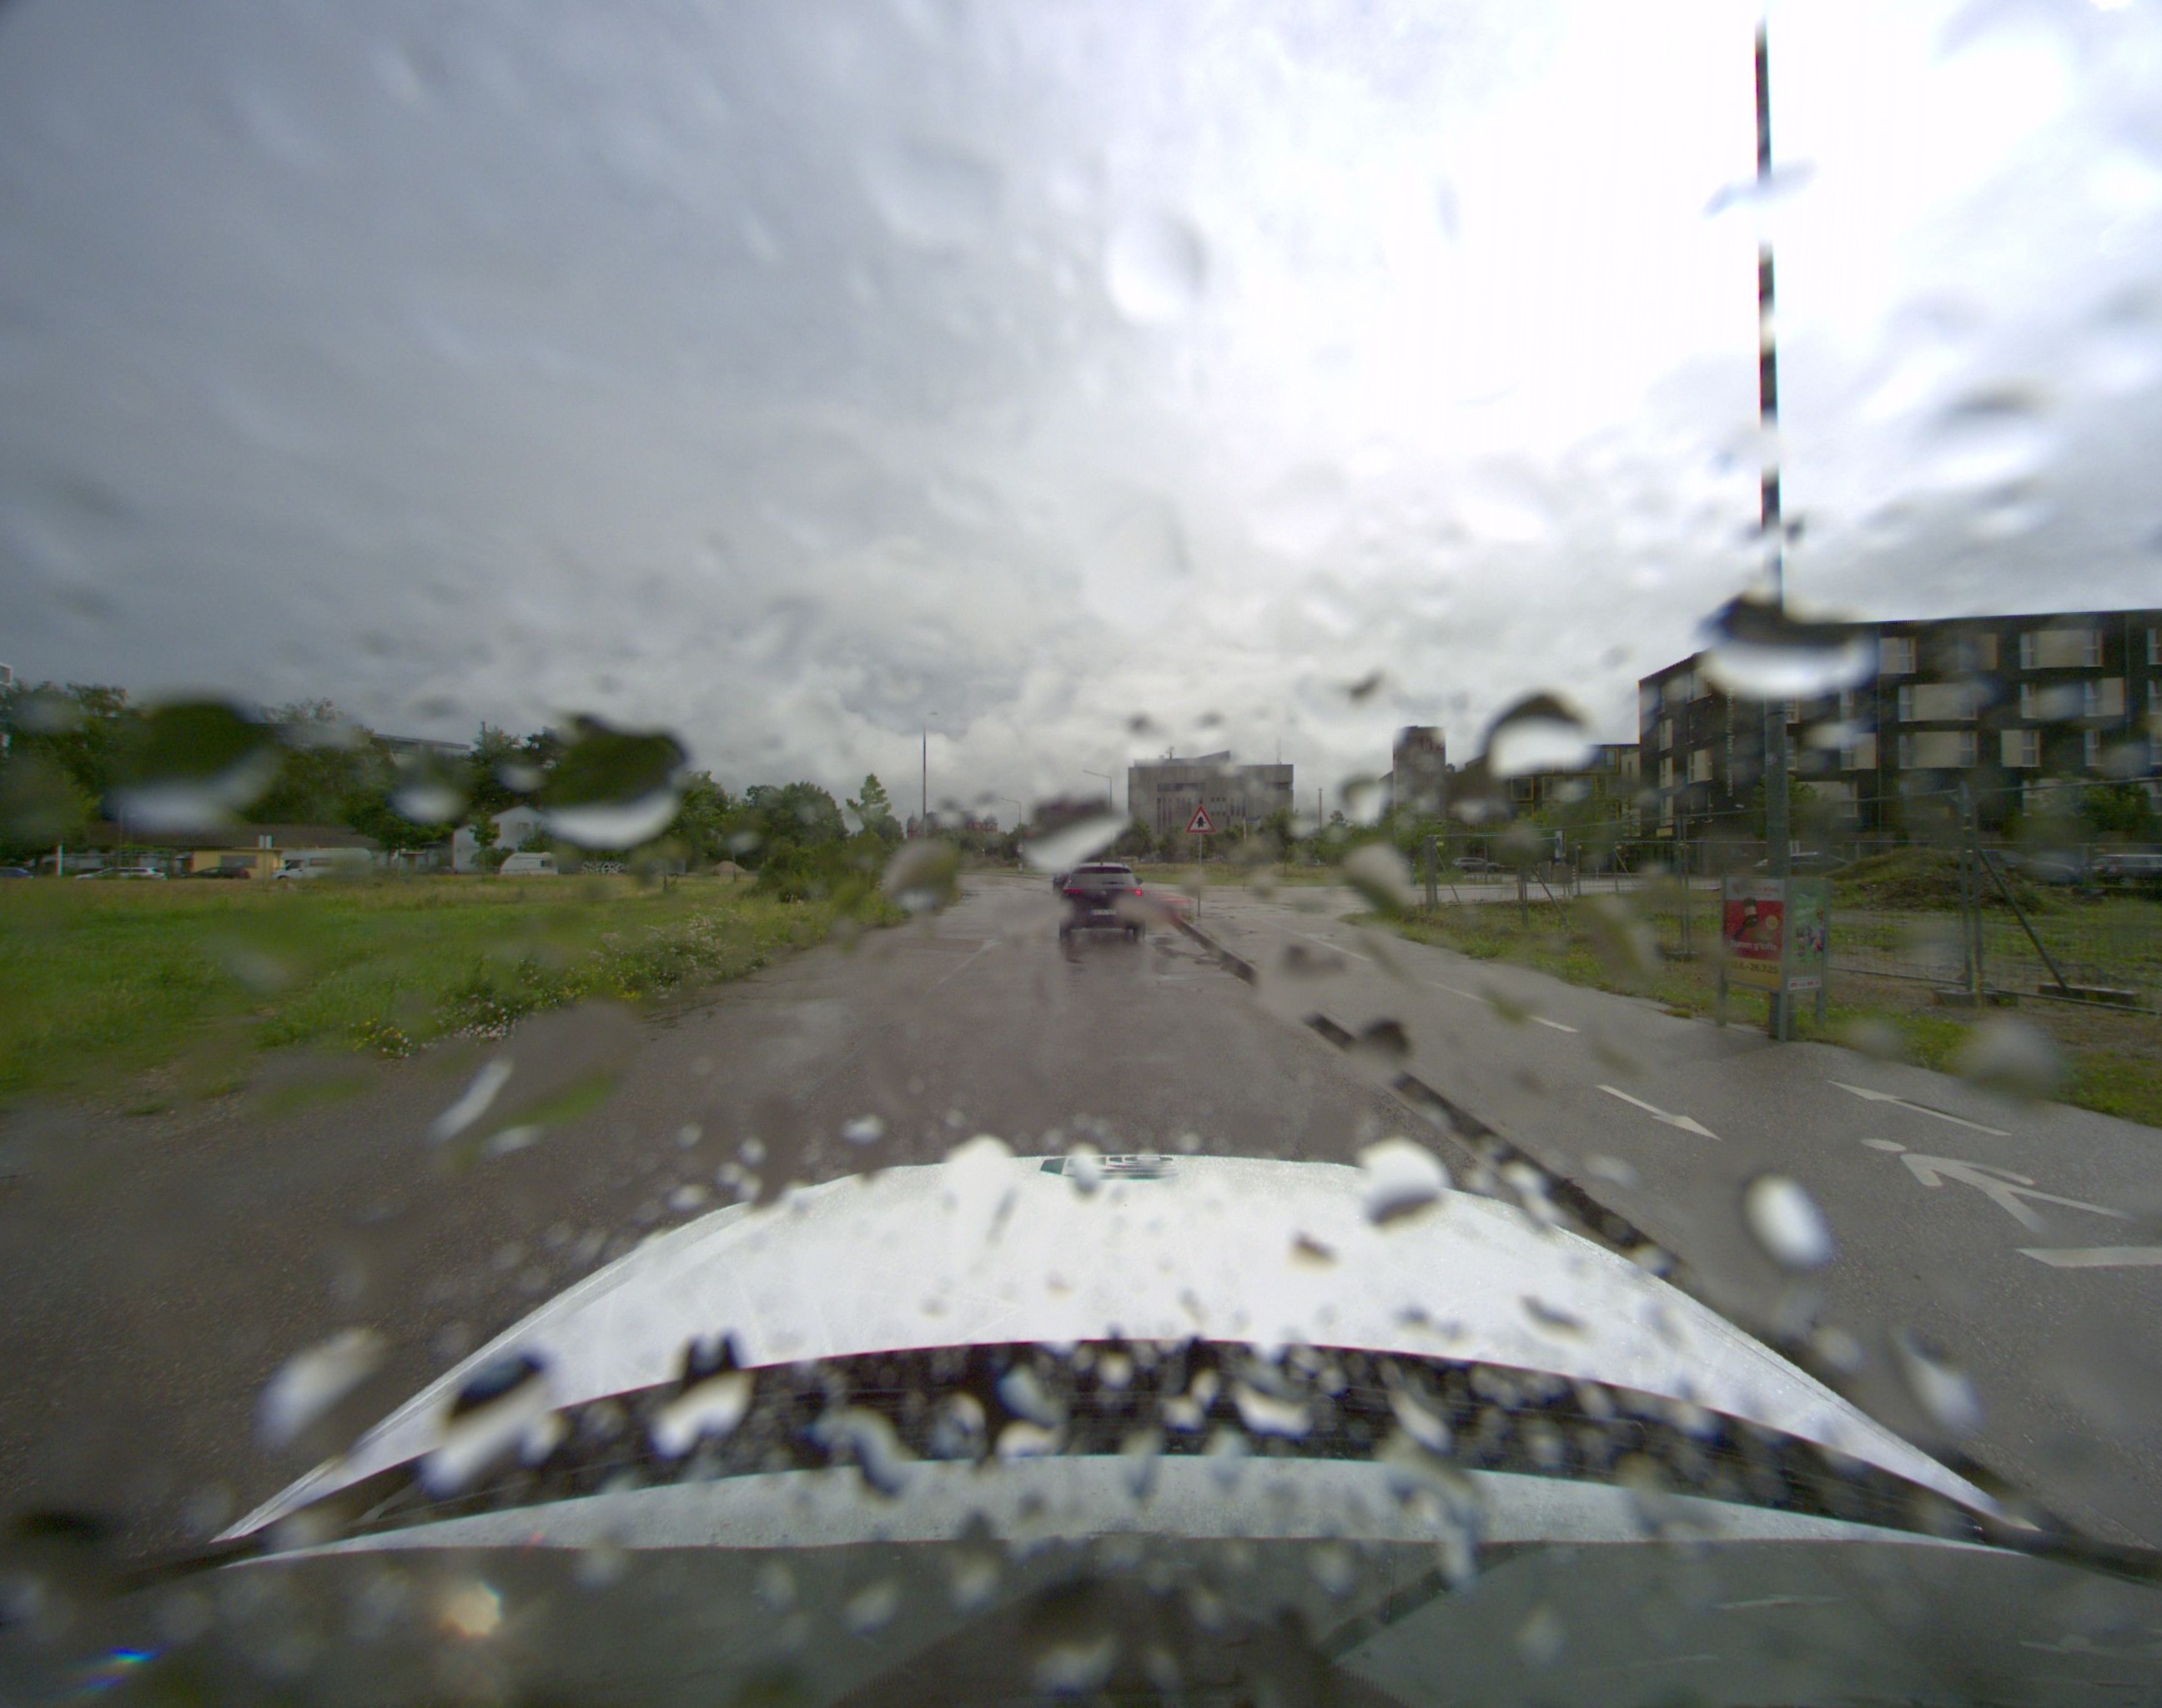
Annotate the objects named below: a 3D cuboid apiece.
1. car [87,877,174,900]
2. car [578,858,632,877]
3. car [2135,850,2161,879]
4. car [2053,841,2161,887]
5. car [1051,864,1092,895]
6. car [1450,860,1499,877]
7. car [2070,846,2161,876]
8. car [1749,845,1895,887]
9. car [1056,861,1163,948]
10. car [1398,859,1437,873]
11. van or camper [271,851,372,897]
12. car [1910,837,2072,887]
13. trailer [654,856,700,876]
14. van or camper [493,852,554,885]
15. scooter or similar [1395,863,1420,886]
[{"bbox_3d":[-74.810,2.684,64.169,4.011,1.703,1.864,0,-1,-29],"label":"car"},{"bbox_3d":[-47.149,1.321,80.793,4.530,1.775,1.982,0,-1,-29],"label":"car"},{"bbox_3d":[54.890,0.515,40.053,1.628,1.396,3.792,1,-1,10],"label":"car"},{"bbox_3d":[41.398,0.432,31.893,3.966,1.641,2.004,3,0,6],"label":"car"},{"bbox_3d":[-0.551,1.278,42.659,1.838,1.442,3.994,-3,0,-4],"label":"car"},{"bbox_3d":[39.488,1.482,81.807,4.175,1.557,1.673,-2,-1,13],"label":"car"},{"bbox_3d":[52.223,0.358,40.496,1.752,1.395,3.818,3,0,10],"label":"car"},{"bbox_3d":[30.274,0.517,33.401,3.966,1.618,2.003,-1,-3,6],"label":"car"},{"bbox_3d":[0.496,0.996,17.878,1.982,1.520,3.997,-4,0,-2],"label":"car"},{"bbox_3d":[43.689,1.599,105.786,4.510,1.762,2.007,-1,-1,14],"label":"car"},{"bbox_3d":[-64.928,1.677,69.796,5.866,3.744,2.630,0,-1,-29],"label":"van or camper"},{"bbox_3d":[36.086,0.293,32.410,3.966,1.728,2.004,3,0,6],"label":"car"},{"bbox_3d":[-41.876,1.257,84.401,4.126,2.089,1.826,2,-2,-31],"label":"trailer"},{"bbox_3d":[-52.725,1.347,77.164,4.527,2.946,2.461,0,-1,-29],"label":"van or camper"},{"bbox_3d":[18.055,1.113,45.049,1.284,1.187,0.500,-2,1,-20],"label":"scooter or similar"}]
